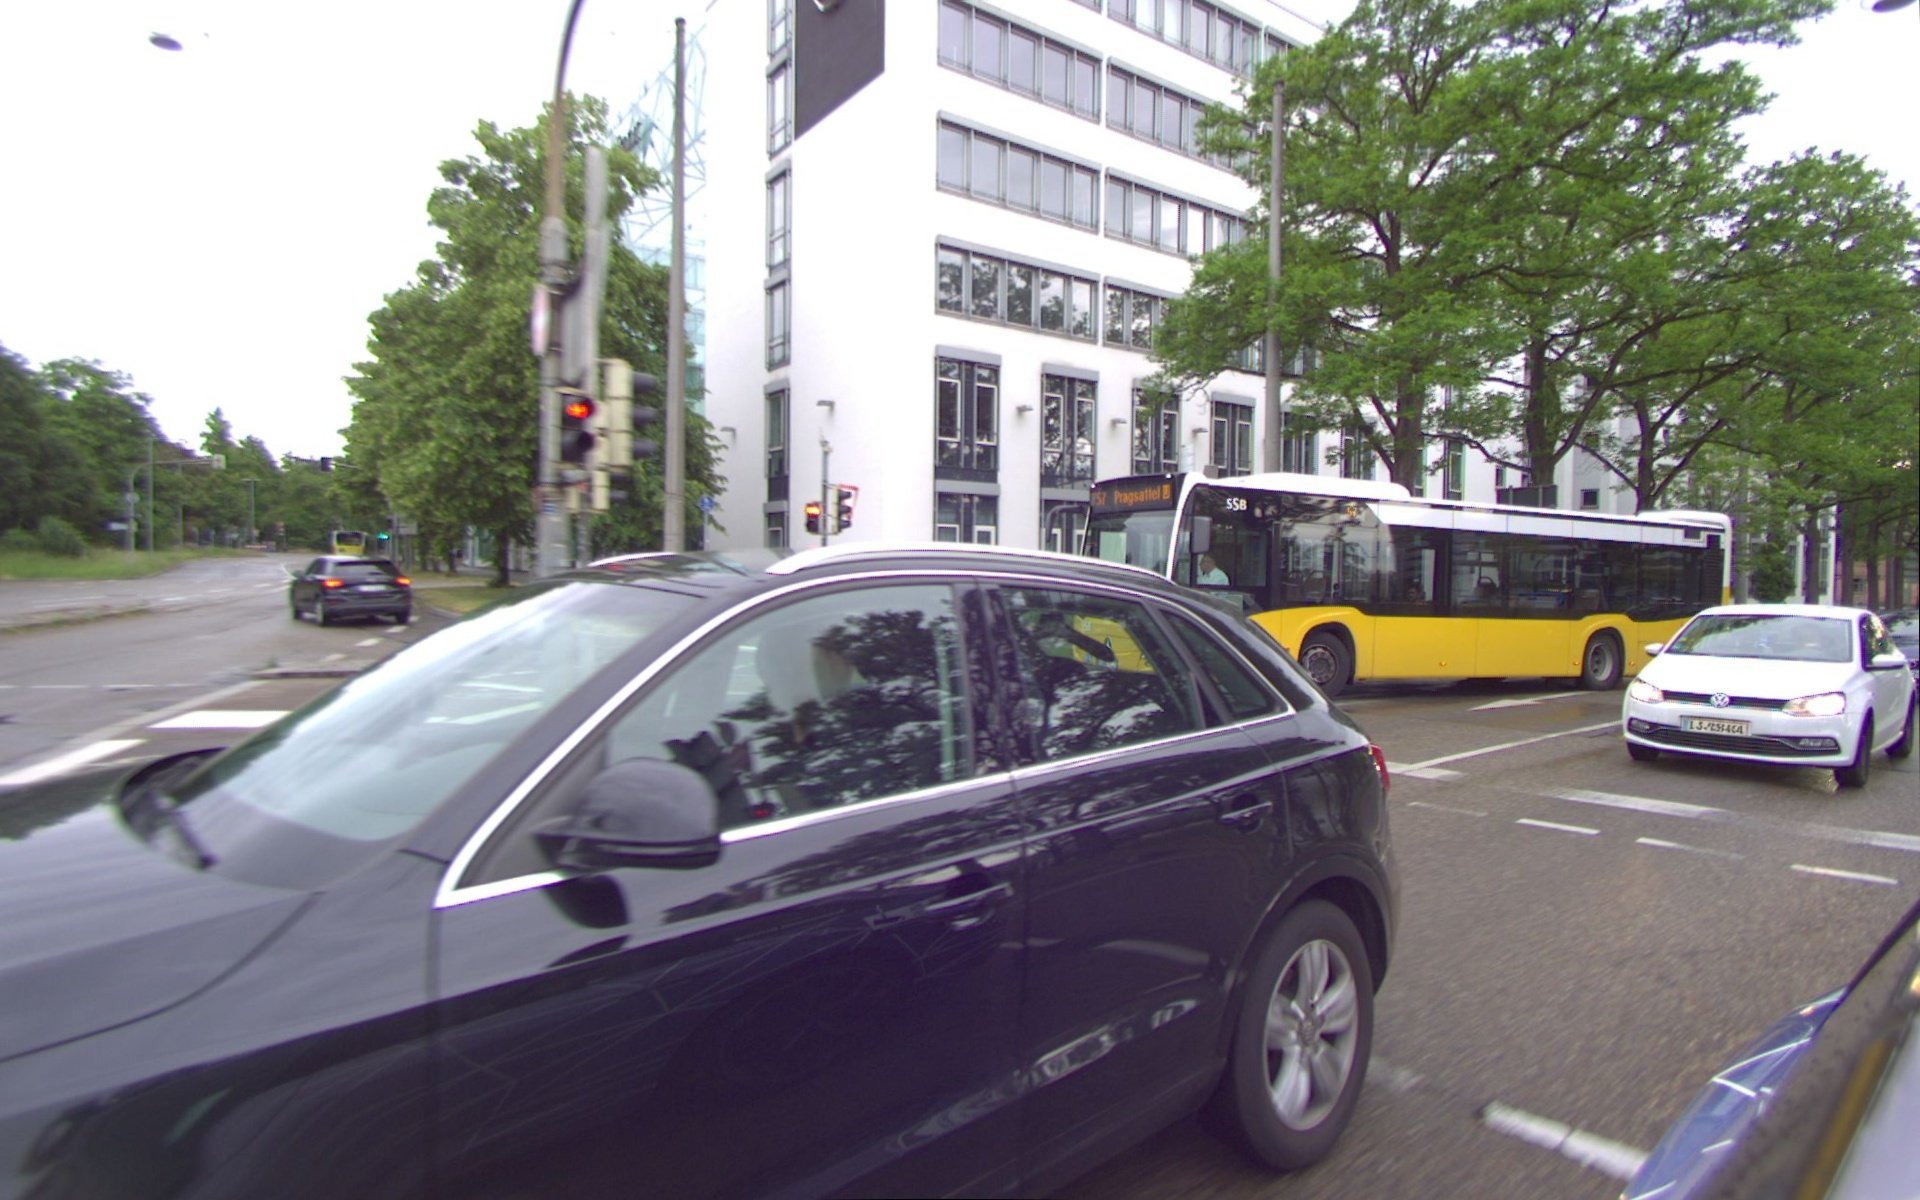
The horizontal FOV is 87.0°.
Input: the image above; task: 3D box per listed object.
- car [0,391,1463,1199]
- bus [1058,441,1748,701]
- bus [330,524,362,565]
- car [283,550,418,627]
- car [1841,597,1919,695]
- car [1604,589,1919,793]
[{"bbox_3d":[-0.598,0.592,2.473,4.042,1.615,1.887,-1,1,-41],"label":"car"},{"bbox_3d":[7.428,-0.338,16.078,11.892,3.192,2.740,0,-1,-24],"label":"bus"},{"bbox_3d":[-57.486,-5.132,94.700,2.292,3.606,6.500,0,2,-33],"label":"bus"},{"bbox_3d":[-13.918,-0.336,23.012,1.840,1.515,4.144,-3,5,-42],"label":"car"},{"bbox_3d":[15.440,0.656,15.909,4.258,1.371,1.876,-1,0,-42],"label":"car"},{"bbox_3d":[7.599,0.655,9.344,3.744,1.449,1.744,0,2,-40],"label":"car"}]
